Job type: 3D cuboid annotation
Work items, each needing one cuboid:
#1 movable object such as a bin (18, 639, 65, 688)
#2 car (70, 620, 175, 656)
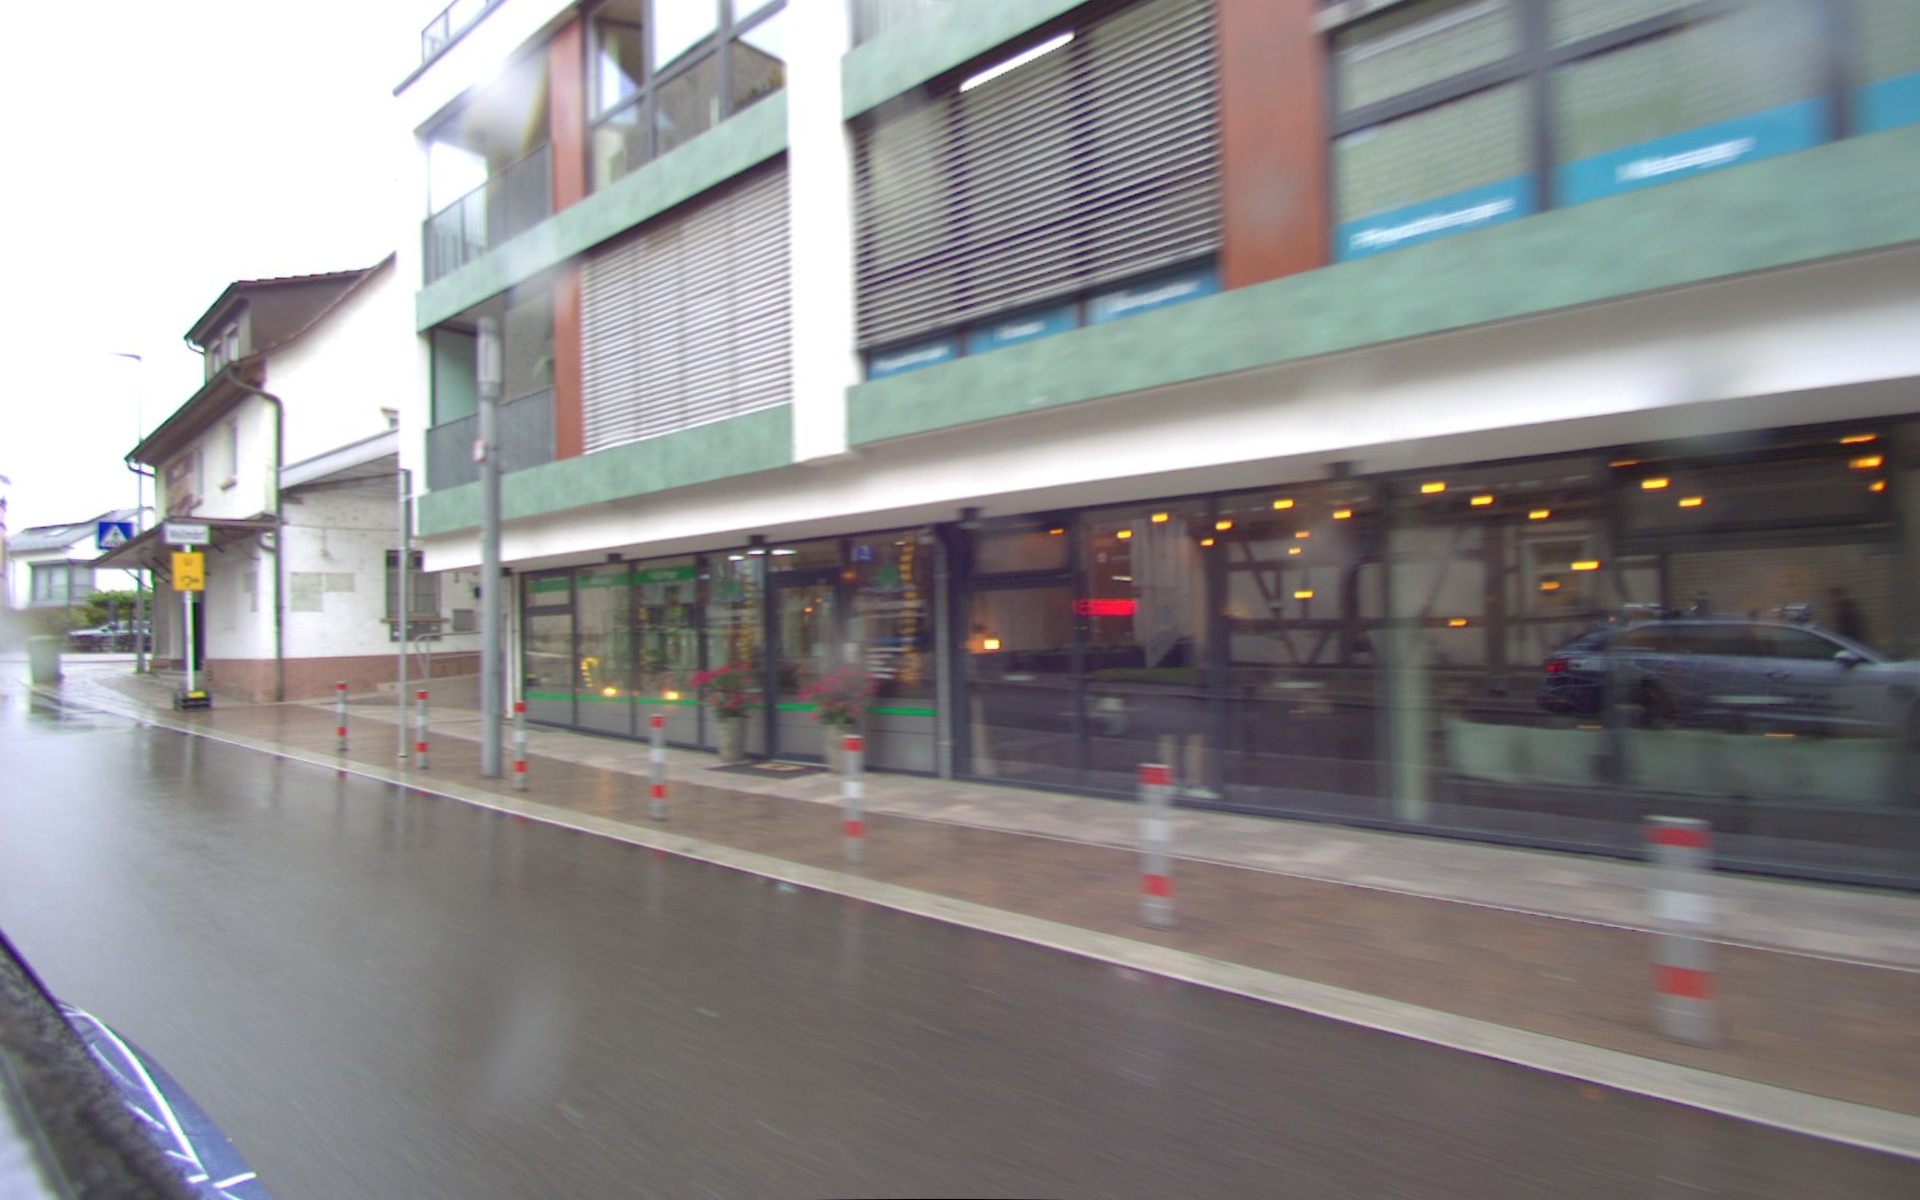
[{"bbox_3d":[-21.796,1.504,24.012,0.759,1.089,0.681,-1,1,37],"label":"movable object such as a bin"},{"bbox_3d":[-48.170,2.224,58.316,4.413,2.029,2.005,2,-3,-34],"label":"car"}]
